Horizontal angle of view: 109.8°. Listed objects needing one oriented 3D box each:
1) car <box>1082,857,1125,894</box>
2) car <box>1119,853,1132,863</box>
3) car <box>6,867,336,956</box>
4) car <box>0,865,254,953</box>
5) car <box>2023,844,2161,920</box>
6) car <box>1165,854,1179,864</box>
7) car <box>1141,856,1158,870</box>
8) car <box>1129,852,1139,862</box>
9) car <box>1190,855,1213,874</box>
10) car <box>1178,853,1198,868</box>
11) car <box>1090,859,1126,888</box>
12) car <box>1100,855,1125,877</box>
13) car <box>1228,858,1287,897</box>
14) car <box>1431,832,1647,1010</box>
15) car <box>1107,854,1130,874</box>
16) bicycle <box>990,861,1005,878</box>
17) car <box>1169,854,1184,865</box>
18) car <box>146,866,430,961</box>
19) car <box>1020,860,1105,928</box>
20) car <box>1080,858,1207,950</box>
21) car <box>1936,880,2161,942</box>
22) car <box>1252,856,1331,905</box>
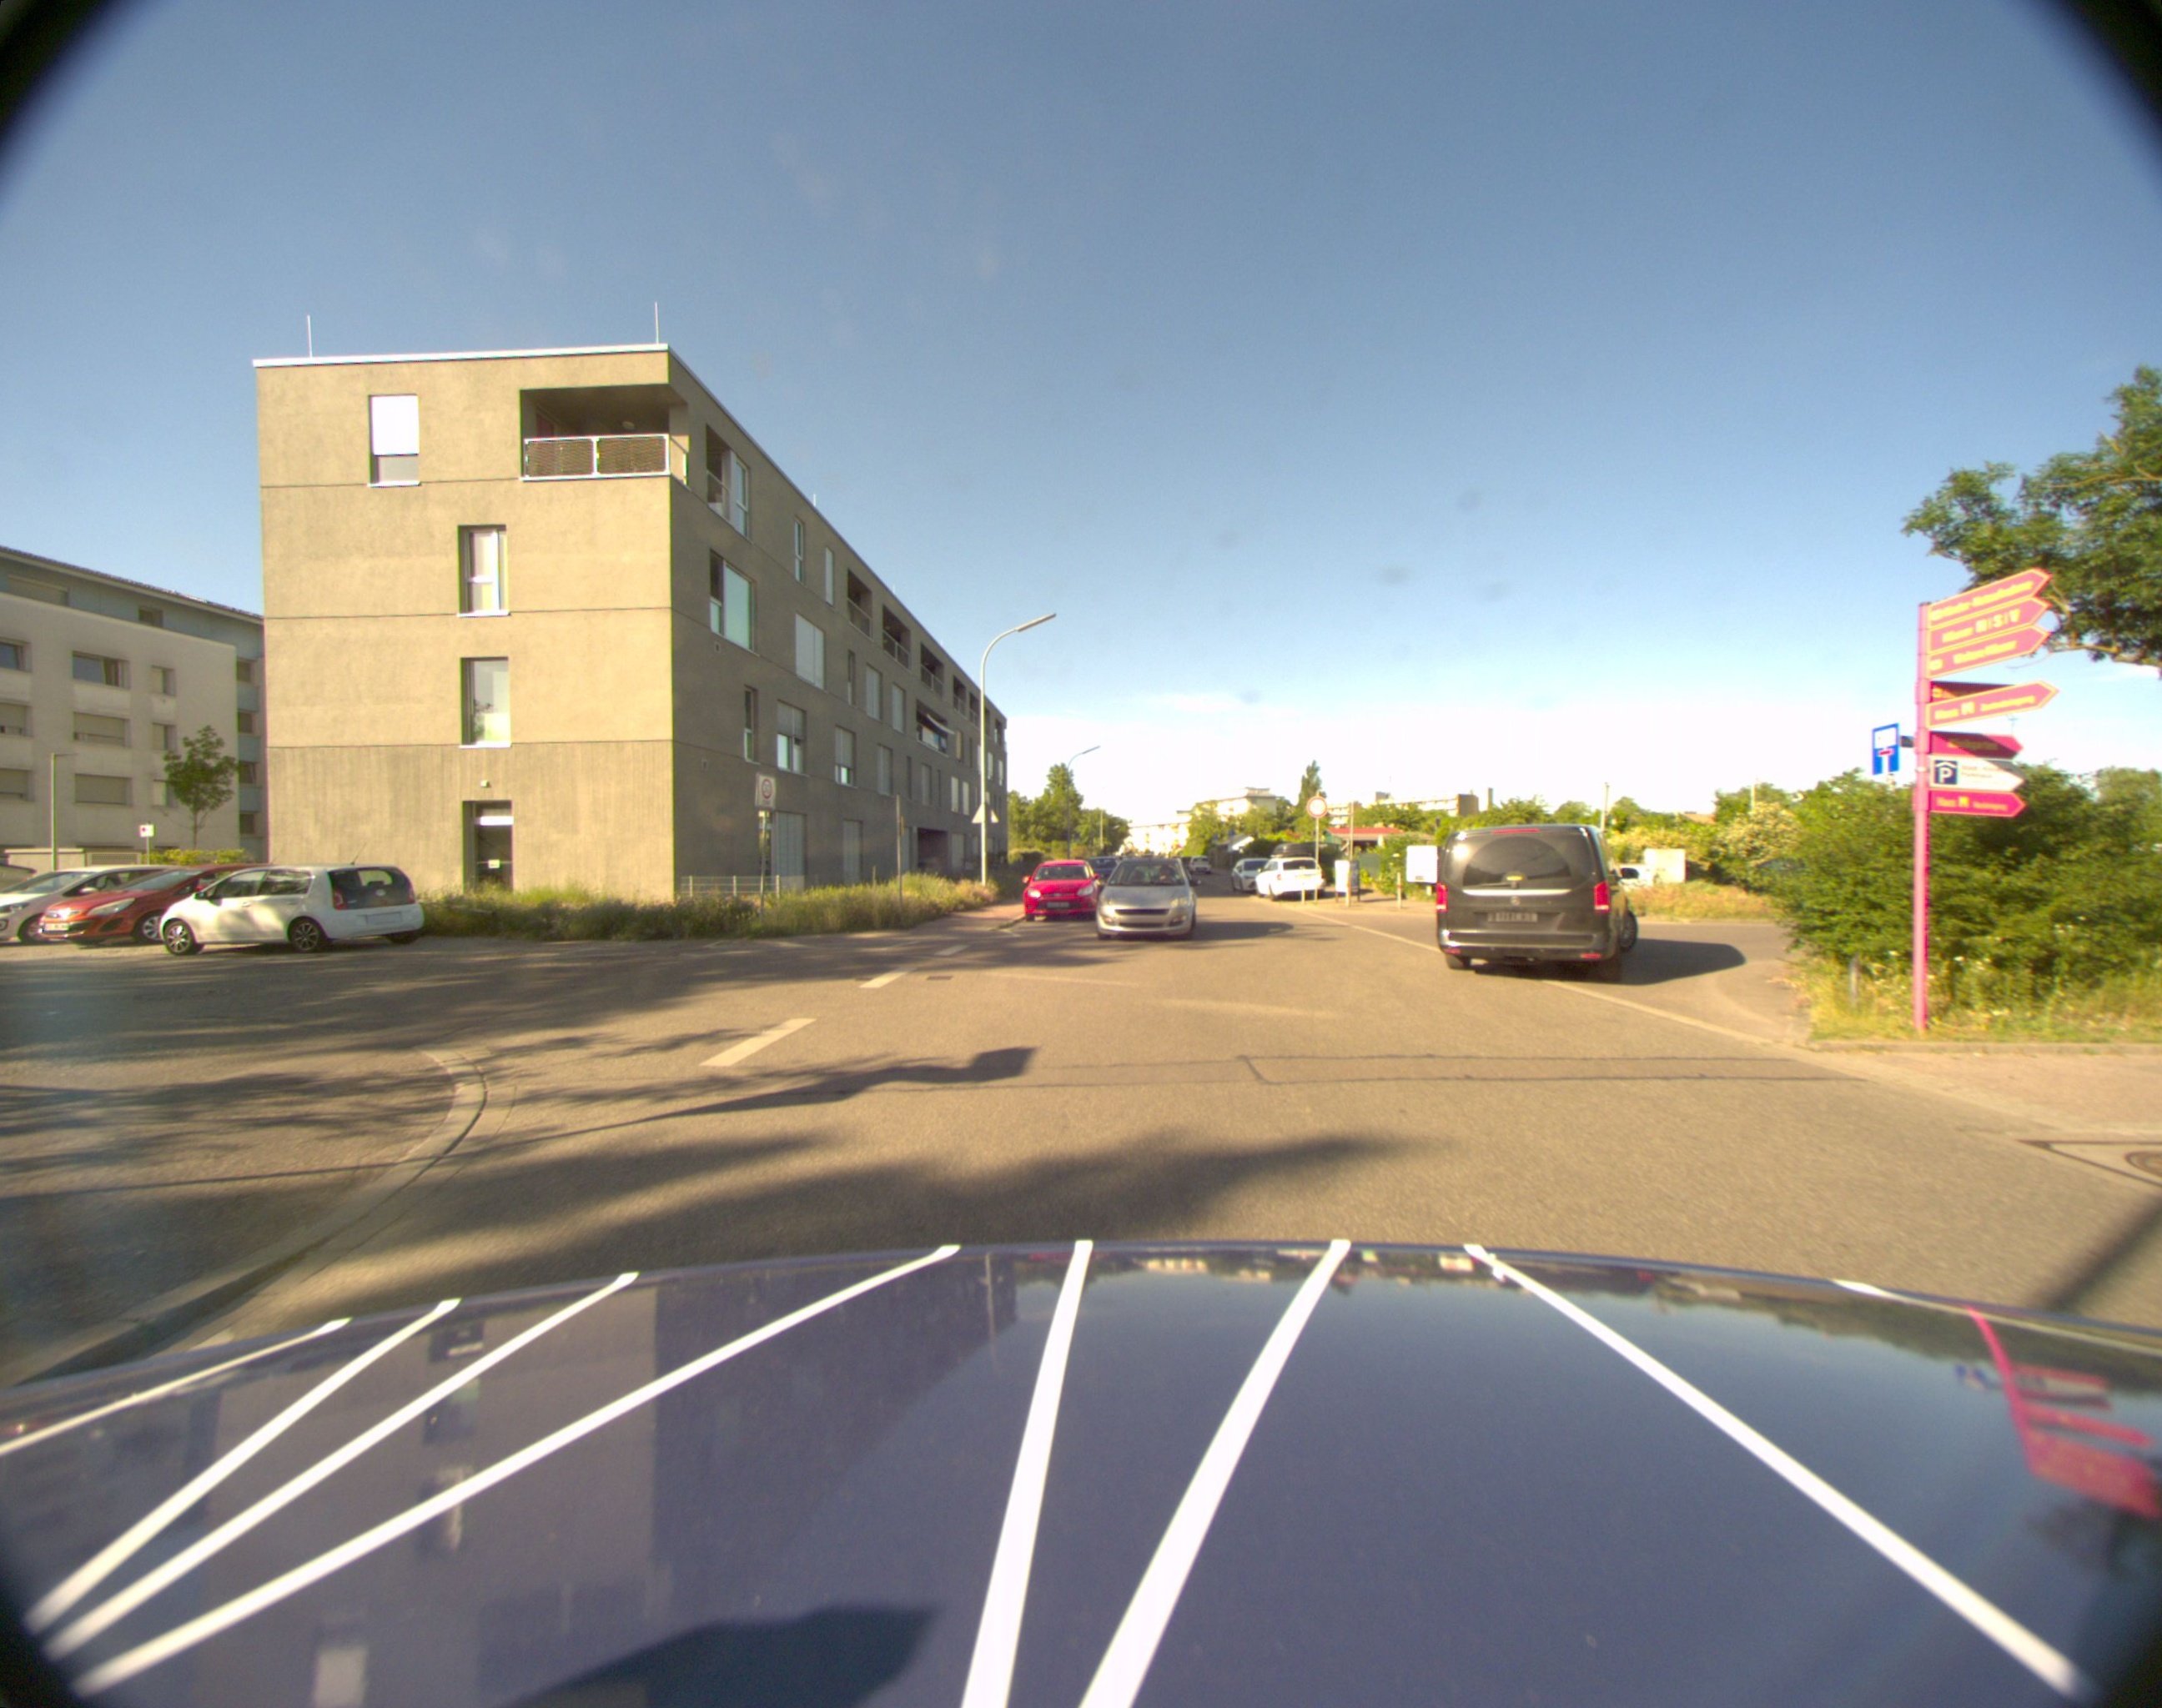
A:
[{"bbox_3d":[1.132,0.969,36.494,1.821,1.590,4.628,-3,0,3],"label":"car"},{"bbox_3d":[6.802,0.657,117.127,1.872,1.517,4.156,-1,0,5],"label":"car"},{"bbox_3d":[-17.853,1.037,15.256,1.696,1.461,4.001,0,0,4],"label":"car"},{"bbox_3d":[-20.239,1.026,15.736,1.696,1.511,4.001,0,0,4],"label":"car"},{"bbox_3d":[25.082,0.623,17.862,1.508,1.685,3.849,0,0,10],"label":"car"},{"bbox_3d":[12.894,0.676,108.038,1.699,1.361,3.911,0,0,4],"label":"car"},{"bbox_3d":[8.439,1.096,93.378,1.946,1.717,4.840,0,0,6],"label":"car"},{"bbox_3d":[10.859,0.661,155.573,1.998,2.002,4.001,0,0,4],"label":"car"},{"bbox_3d":[9.869,0.835,62.267,1.531,1.479,3.402,-1,0,4],"label":"car"},{"bbox_3d":[11.156,0.676,79.636,1.699,1.415,4.518,-2,0,4],"label":"car"},{"bbox_3d":[1.570,1.039,42.292,1.749,1.421,4.587,-2,0,5],"label":"car"},{"bbox_3d":[2.435,0.867,57.475,1.710,1.517,4.156,-2,0,5],"label":"car"},{"bbox_3d":[7.574,0.971,33.012,1.751,1.437,4.542,-3,0,4],"label":"car"},{"bbox_3d":[6.586,0.692,10.569,1.956,1.856,5.266,0,0,38],"label":"car"},{"bbox_3d":[3.306,0.863,66.475,1.748,1.557,4.805,-2,0,6],"label":"car"},{"bbox_3d":[-5.549,1.016,50.804,0.553,1.055,1.843,-1,0,8],"label":"bicycle"},{"bbox_3d":[12.348,0.666,98.082,1.699,1.421,4.387,0,0,4],"label":"car"},{"bbox_3d":[-13.332,0.943,12.877,3.332,1.450,1.716,0,0,9],"label":"car"},{"bbox_3d":[-0.366,0.947,19.767,1.823,1.491,4.453,-1,0,3],"label":"car"},{"bbox_3d":[1.301,0.896,14.116,1.677,1.439,4.006,-2,-3,14],"label":"car"},{"bbox_3d":[22.437,1.236,17.549,1.508,1.145,3.849,0,0,10],"label":"car"},{"bbox_3d":[7.203,0.861,26.456,1.699,1.504,4.518,-3,-1,4],"label":"car"}]
